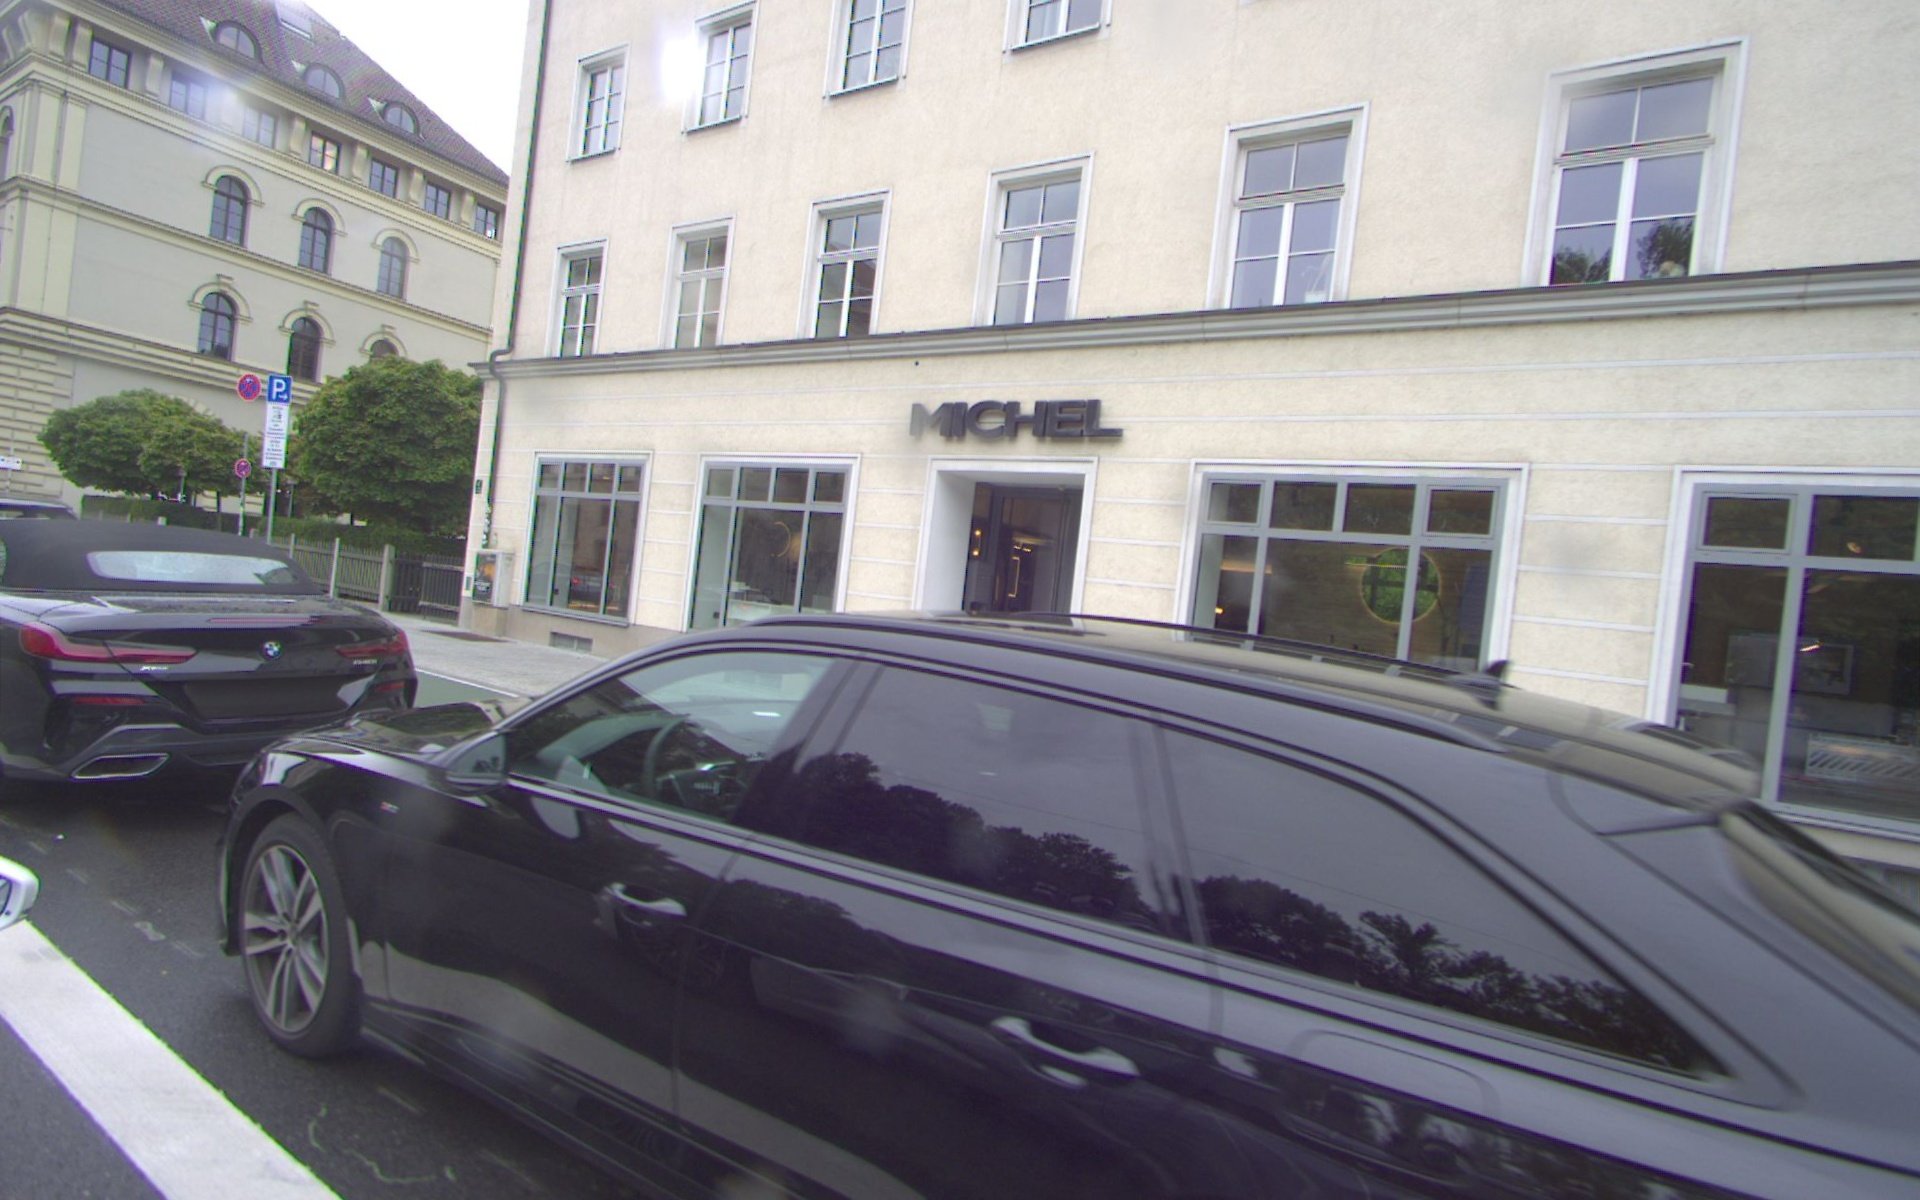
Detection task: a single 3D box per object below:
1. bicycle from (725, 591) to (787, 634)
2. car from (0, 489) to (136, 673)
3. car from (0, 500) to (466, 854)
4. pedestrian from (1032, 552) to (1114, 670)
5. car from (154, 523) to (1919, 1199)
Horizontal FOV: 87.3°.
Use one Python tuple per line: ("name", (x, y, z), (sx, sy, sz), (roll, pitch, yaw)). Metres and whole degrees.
("bicycle", (-5.792, 0.369, 28.636), (0.512, 1.048, 1.829), (7, 0, 32))
("car", (-9.724, -0.350, 9.712), (3.769, 1.538, 1.677), (7, -1, 35))
("car", (-5.237, 0.202, 6.190), (4.645, 1.424, 1.828), (7, -1, 35))
("pedestrian", (1.756, 0.183, 15.542), (0.769, 1.710, 0.858), (7, 1, 35))
("car", (-0.180, 0.735, 2.745), (4.388, 1.501, 1.808), (7, 4, 32))
